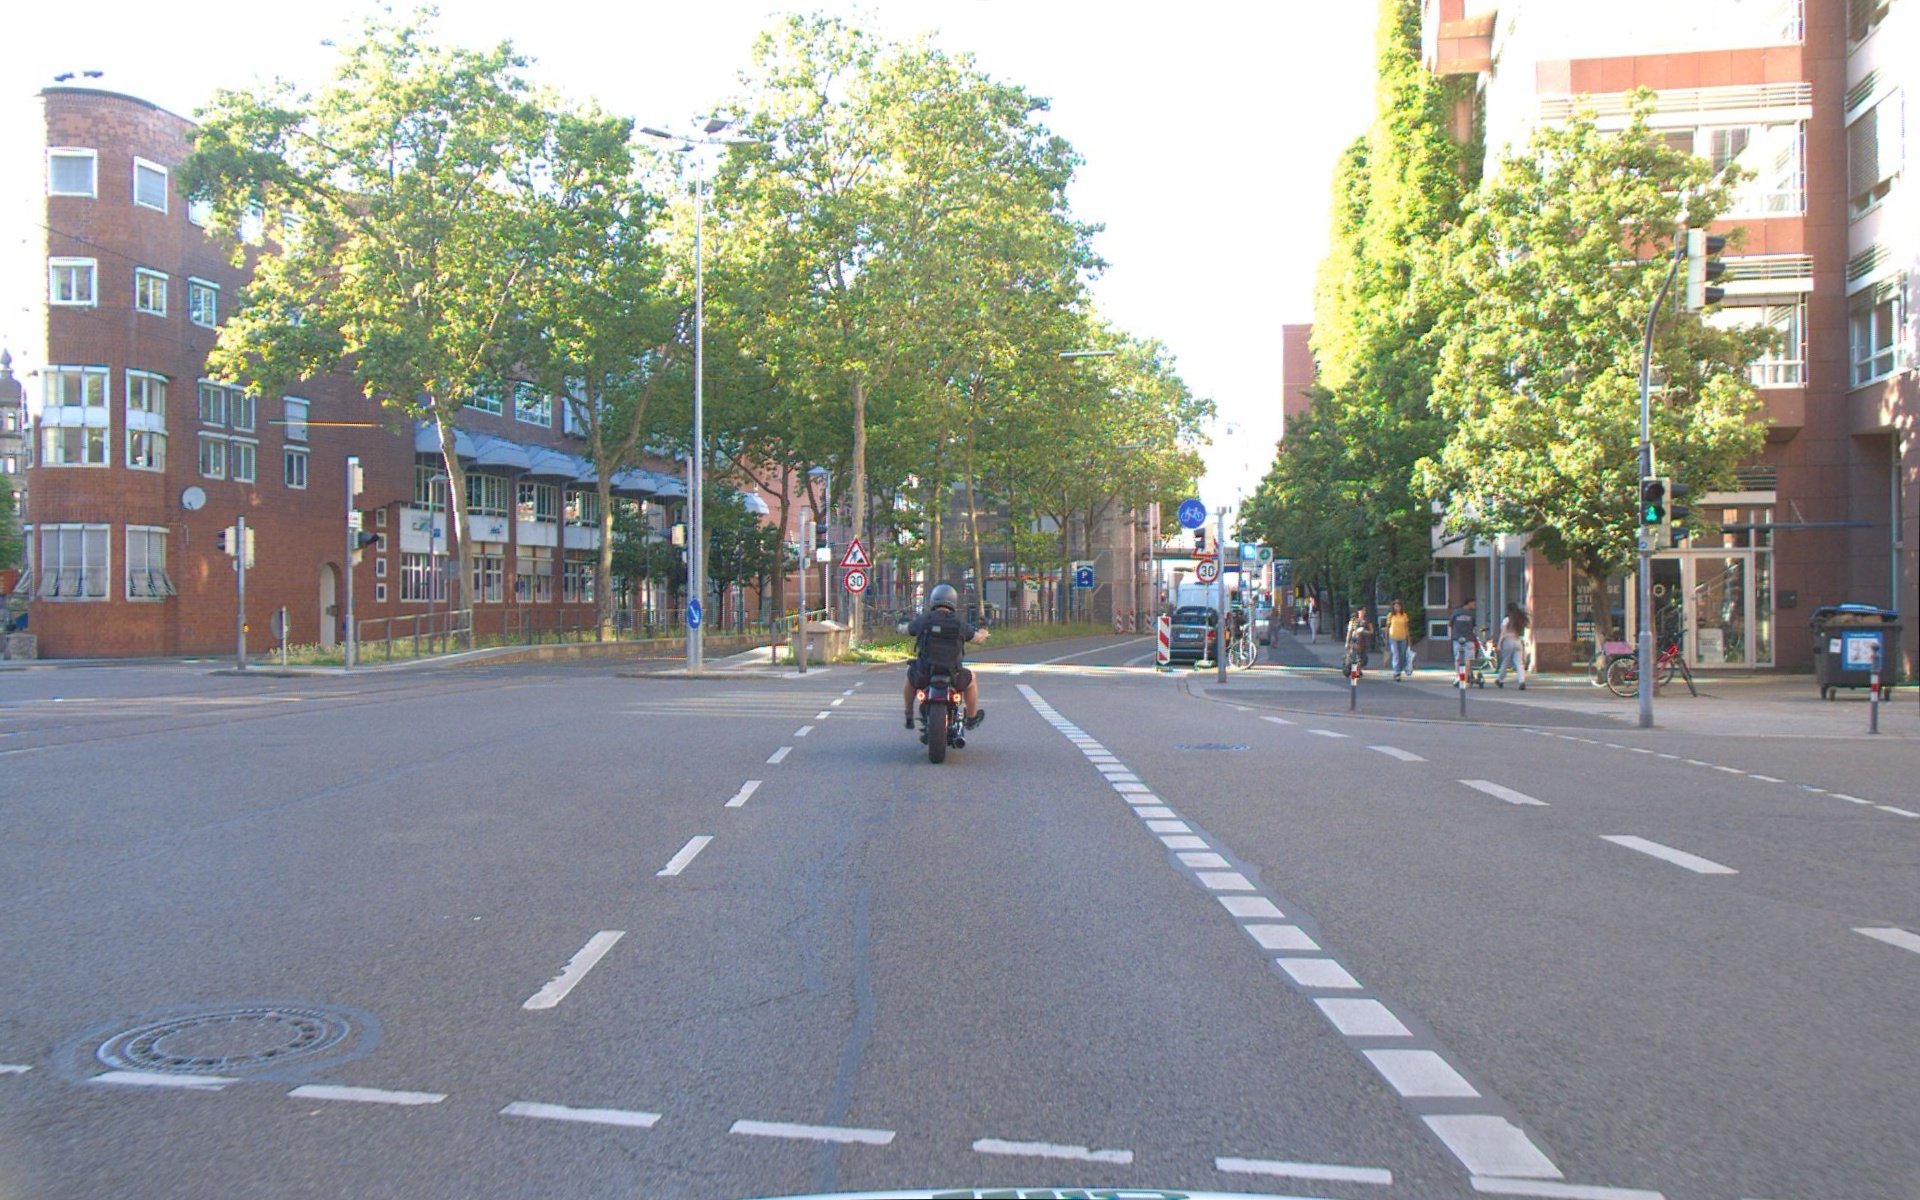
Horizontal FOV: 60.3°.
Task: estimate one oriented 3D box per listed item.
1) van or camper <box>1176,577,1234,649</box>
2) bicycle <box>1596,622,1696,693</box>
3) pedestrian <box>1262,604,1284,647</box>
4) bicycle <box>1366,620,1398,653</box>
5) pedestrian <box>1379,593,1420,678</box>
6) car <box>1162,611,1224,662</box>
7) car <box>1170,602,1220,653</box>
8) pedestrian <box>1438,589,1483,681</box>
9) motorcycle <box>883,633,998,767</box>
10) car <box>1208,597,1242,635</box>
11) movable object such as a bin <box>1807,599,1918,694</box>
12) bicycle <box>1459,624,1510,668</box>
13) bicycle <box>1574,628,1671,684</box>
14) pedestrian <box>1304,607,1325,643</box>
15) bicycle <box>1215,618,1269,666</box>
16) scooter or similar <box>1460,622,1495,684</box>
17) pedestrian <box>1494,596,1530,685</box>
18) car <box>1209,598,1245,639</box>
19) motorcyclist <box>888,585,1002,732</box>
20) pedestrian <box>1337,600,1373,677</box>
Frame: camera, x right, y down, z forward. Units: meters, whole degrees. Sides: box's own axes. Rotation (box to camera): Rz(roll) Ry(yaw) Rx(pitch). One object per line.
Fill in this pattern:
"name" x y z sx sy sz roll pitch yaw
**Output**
"van or camper" 9.217 0.473 61.987 2.005 2.585 5.778 0 0 10
"bicycle" 12.205 1.019 29.442 1.534 1.248 0.578 0 0 6
"pedestrian" 12.054 0.976 63.720 0.747 1.673 0.547 0 -1 2
"bicycle" 13.644 1.169 53.479 0.604 1.038 1.914 0 0 2
"pedestrian" 9.199 0.737 34.643 0.685 1.764 0.768 0 0 3
"car" 6.388 0.963 45.342 1.585 1.325 4.315 0 0 8
"car" 7.932 0.894 55.561 1.585 1.648 4.489 0 0 9
"pedestrian" 9.814 0.678 32.418 0.769 1.794 0.610 0 0 10
"motorcycle" -0.145 0.890 15.416 0.997 1.116 2.008 0 0 1
"car" 14.628 0.871 91.326 1.796 2.049 4.391 0 0 9
"movable object such as a bin" 14.661 0.746 26.908 1.380 1.508 0.872 0 0 11
"bicycle" 11.941 1.046 37.698 0.721 0.956 1.753 0 0 4
"bicycle" 13.016 1.089 32.506 1.712 1.071 0.738 0 0 27
"pedestrian" 14.967 1.055 69.767 0.749 1.471 0.780 1 -1 4
"bicycle" 6.534 0.957 38.431 0.723 1.071 1.748 0 0 -9
"scooter or similar" 10.154 1.029 32.467 0.386 1.178 1.250 0 0 6
"pedestrian" 10.737 0.780 32.182 0.450 1.702 0.679 0 0 -3
"car" 13.771 0.954 85.349 1.796 2.049 4.391 0 0 9
"motorcyclist" -0.128 0.528 15.325 0.991 1.285 0.774 2 0 1
"pedestrian" 8.370 0.814 35.074 0.630 1.606 0.748 0 0 3
